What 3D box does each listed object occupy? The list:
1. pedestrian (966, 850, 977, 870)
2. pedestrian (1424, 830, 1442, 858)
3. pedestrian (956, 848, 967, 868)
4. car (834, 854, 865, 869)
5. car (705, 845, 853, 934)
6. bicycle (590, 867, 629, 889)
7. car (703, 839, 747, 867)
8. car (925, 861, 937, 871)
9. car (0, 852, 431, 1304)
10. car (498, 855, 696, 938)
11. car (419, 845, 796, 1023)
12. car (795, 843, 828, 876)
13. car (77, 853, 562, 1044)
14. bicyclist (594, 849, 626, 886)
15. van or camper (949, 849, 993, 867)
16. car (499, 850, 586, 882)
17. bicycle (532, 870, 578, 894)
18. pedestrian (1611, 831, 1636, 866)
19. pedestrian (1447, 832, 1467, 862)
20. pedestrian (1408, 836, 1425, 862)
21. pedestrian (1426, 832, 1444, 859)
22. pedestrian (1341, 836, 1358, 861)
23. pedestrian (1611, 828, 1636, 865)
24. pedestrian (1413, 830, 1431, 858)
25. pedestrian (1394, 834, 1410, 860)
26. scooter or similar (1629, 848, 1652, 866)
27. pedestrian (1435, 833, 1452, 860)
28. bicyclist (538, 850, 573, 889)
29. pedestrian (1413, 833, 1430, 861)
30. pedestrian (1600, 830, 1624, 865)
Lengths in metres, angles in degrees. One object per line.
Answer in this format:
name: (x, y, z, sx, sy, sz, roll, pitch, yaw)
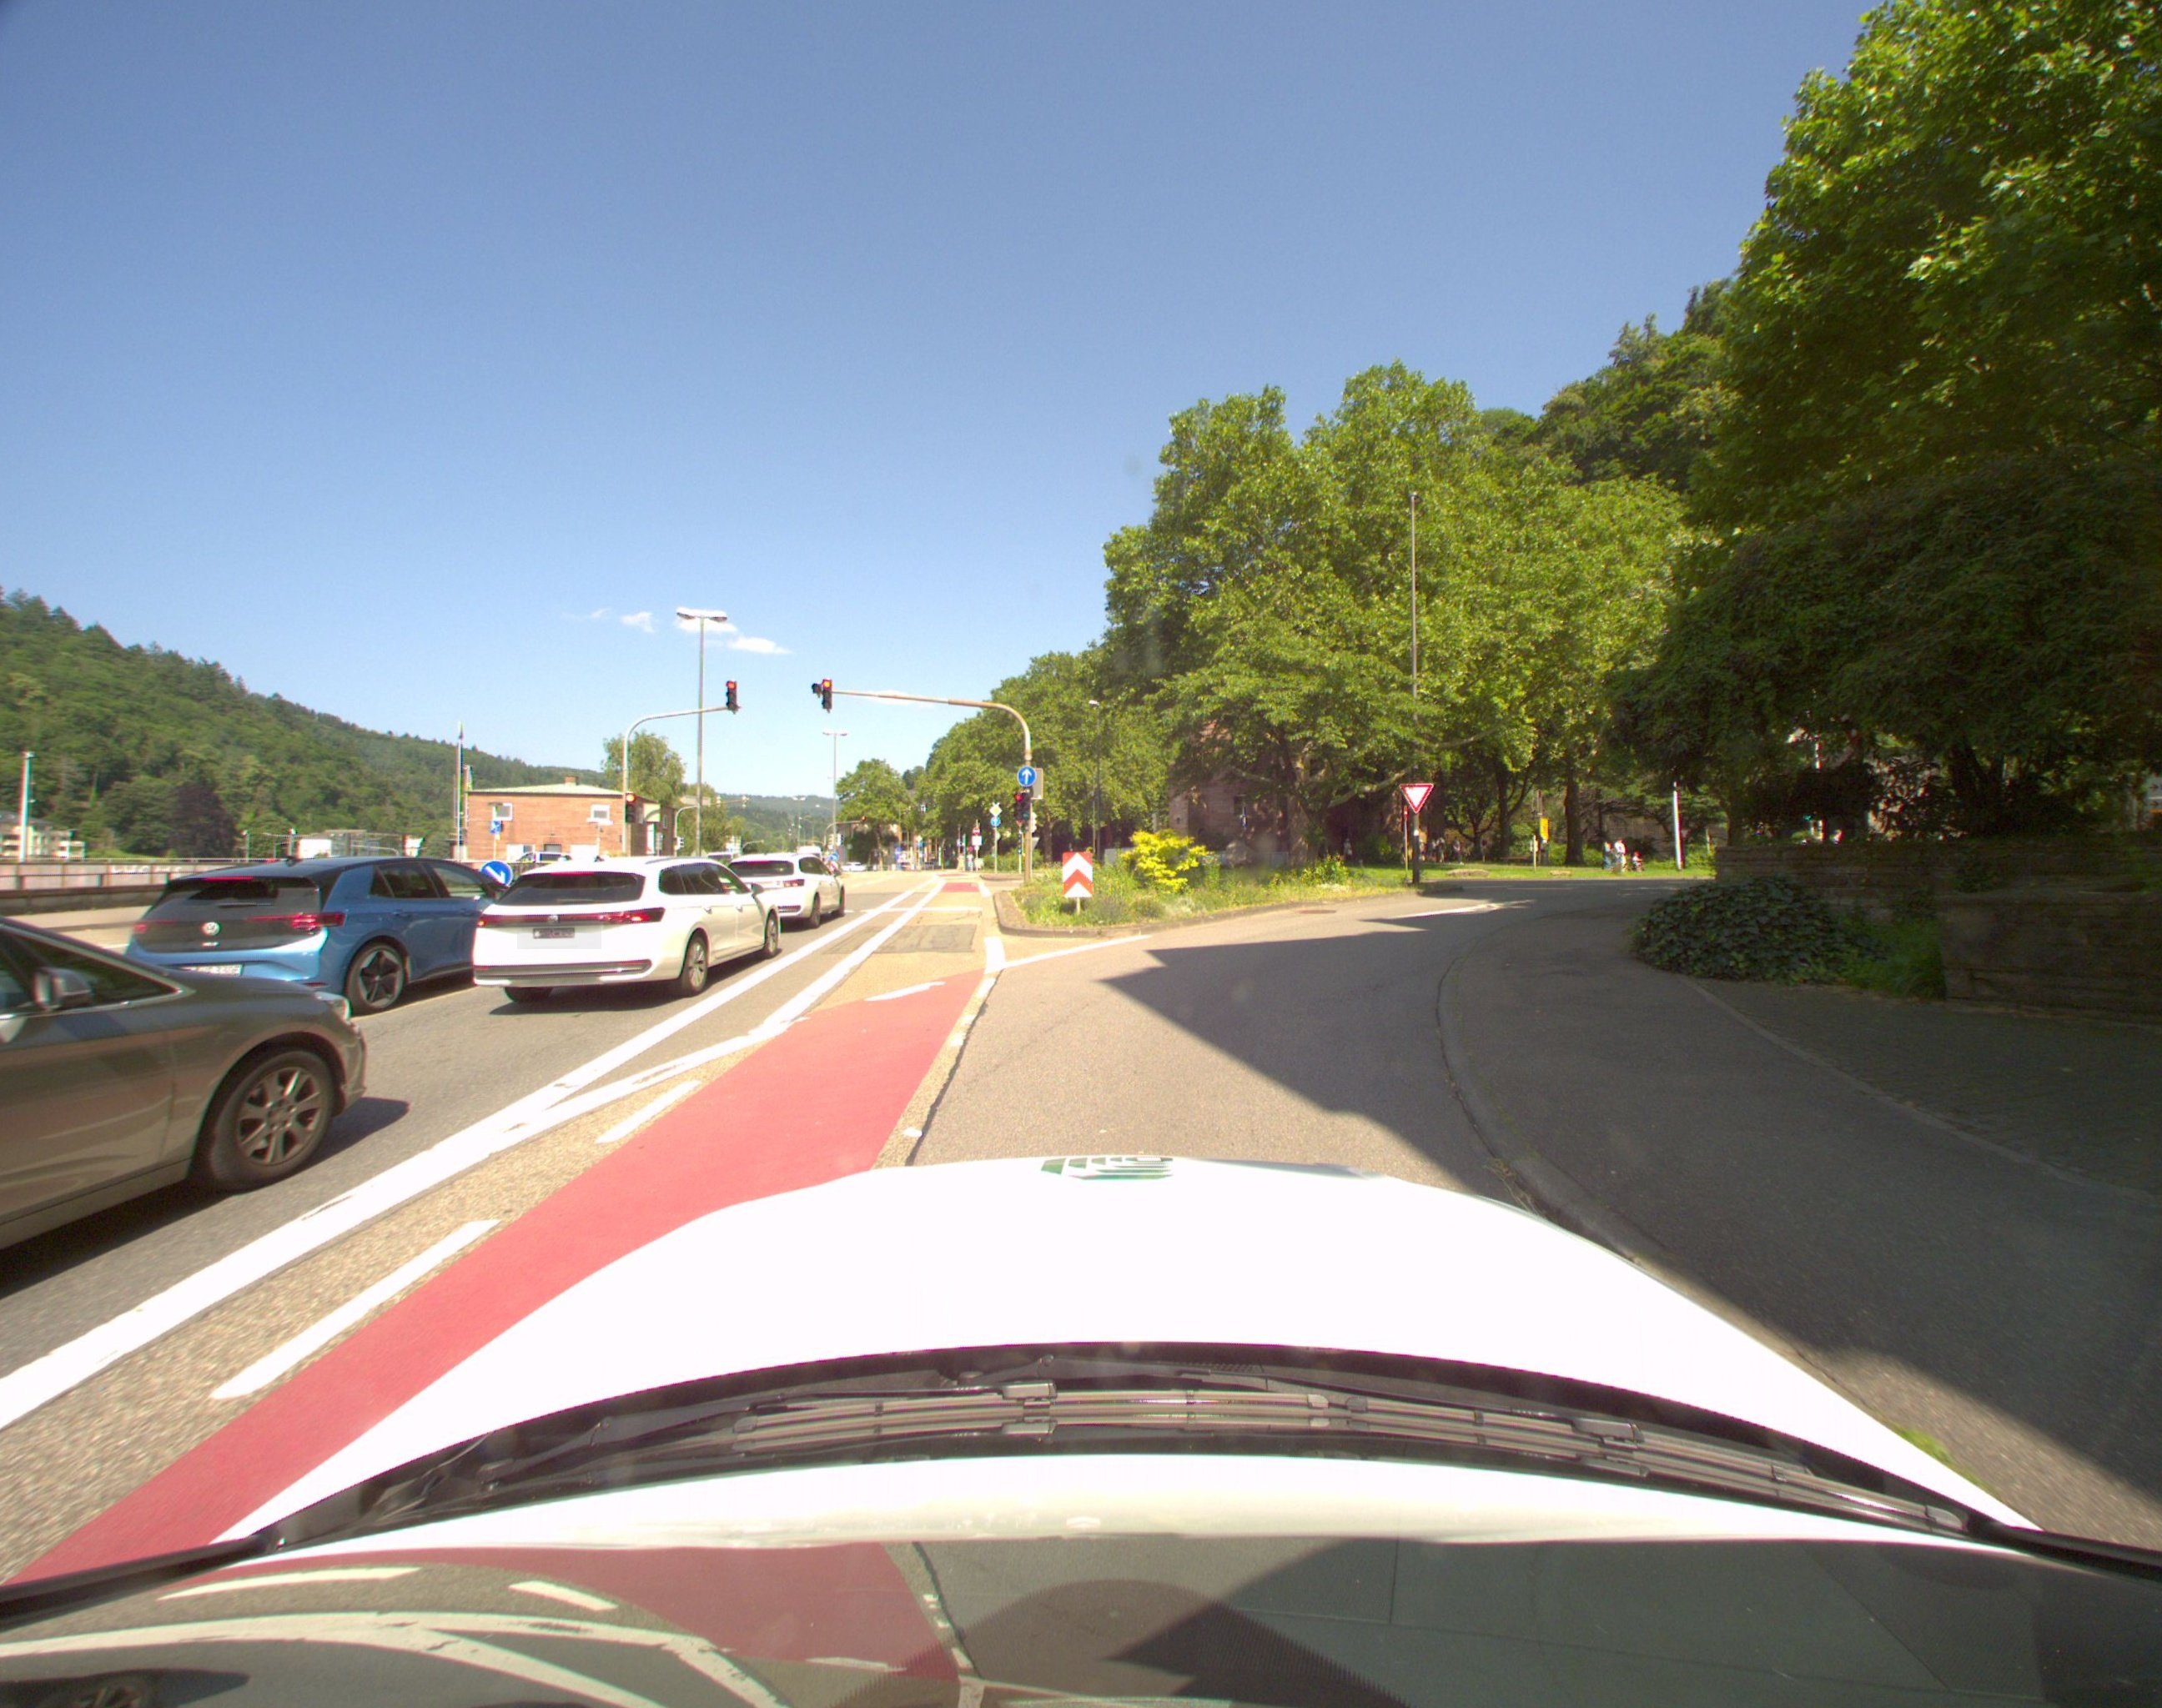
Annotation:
pedestrian: (-9.563, 0.480, 71.043, 0.759, 1.708, 0.878, -2, 0, 1)
pedestrian: (22.538, -0.639, 52.129, 0.793, 1.756, 0.663, 1, 0, -12)
pedestrian: (-10.395, 0.339, 70.862, 0.759, 1.718, 0.795, -2, 0, 1)
car: (-33.410, 1.128, 117.566, 3.949, 2.013, 1.955, -1, 1, 29)
car: (-6.050, 0.629, 16.926, 1.784, 1.532, 4.725, -2, 0, -7)
bicycle: (-26.503, 1.351, 45.823, 1.214, 1.090, 2.585, -2, 1, -14)
car: (-28.119, -0.112, 64.452, 2.217, 2.078, 5.021, -2, 1, -13)
car: (-23.887, 1.870, 129.594, 1.731, 1.514, 3.610, -2, 1, -10)
car: (-4.580, 0.771, 2.506, 1.885, 1.521, 4.299, -1, 0, -4)
car: (-9.486, 0.756, 16.396, 1.864, 1.358, 3.992, -1, 1, -6)
car: (-5.129, 0.697, 9.830, 1.990, 1.533, 4.850, -2, 1, -5)
car: (-22.848, 0.441, 68.930, 2.392, 2.576, 6.013, -2, 1, -21)
car: (-7.882, 0.809, 9.102, 1.864, 1.562, 3.992, -1, 1, -6)
bicyclist: (-26.489, 0.768, 45.839, 1.214, 2.013, 1.113, -2, 0, -14)
van or camper: (-12.566, 0.418, 92.891, 4.511, 1.901, 2.007, -2, 0, 12)
car: (-37.028, 0.783, 56.068, 1.975, 2.013, 4.646, -1, 1, 43)
bicycle: (-27.792, 1.453, 43.092, 1.214, 1.090, 2.585, -2, 1, -14)
pedestrian: (27.569, -0.258, 41.376, 0.793, 1.756, 0.663, 1, 0, -12)
pedestrian: (22.247, -0.433, 48.211, 0.793, 1.756, 0.719, 1, 0, -12)
pedestrian: (22.910, -0.345, 55.634, 0.793, 1.756, 0.663, 1, 0, -12)
pedestrian: (23.407, -0.545, 53.859, 0.793, 1.756, 0.663, 1, 0, -12)
pedestrian: (19.072, -0.390, 57.906, 0.793, 1.782, 0.872, -2, 0, -11)
pedestrian: (25.753, -0.356, 38.659, 0.768, 1.756, 0.754, -2, 0, -35)
pedestrian: (21.732, -0.643, 51.956, 0.793, 1.756, 0.663, 1, 0, -12)
pedestrian: (21.809, -0.478, 55.350, 0.793, 1.756, 0.663, 1, 0, -12)
scooter or similar: (26.118, 0.143, 38.020, 0.572, 0.812, 0.725, -2, 0, -35)
pedestrian: (23.558, -0.503, 52.922, 0.793, 1.756, 0.663, 1, 0, -12)
bicyclist: (-27.822, 0.814, 43.157, 1.214, 2.013, 1.113, -2, 1, -14)
pedestrian: (22.370, -0.459, 53.545, 0.793, 1.756, 0.663, 1, 0, -12)
pedestrian: (26.765, -0.342, 41.052, 0.793, 1.756, 0.663, 1, 0, -12)
